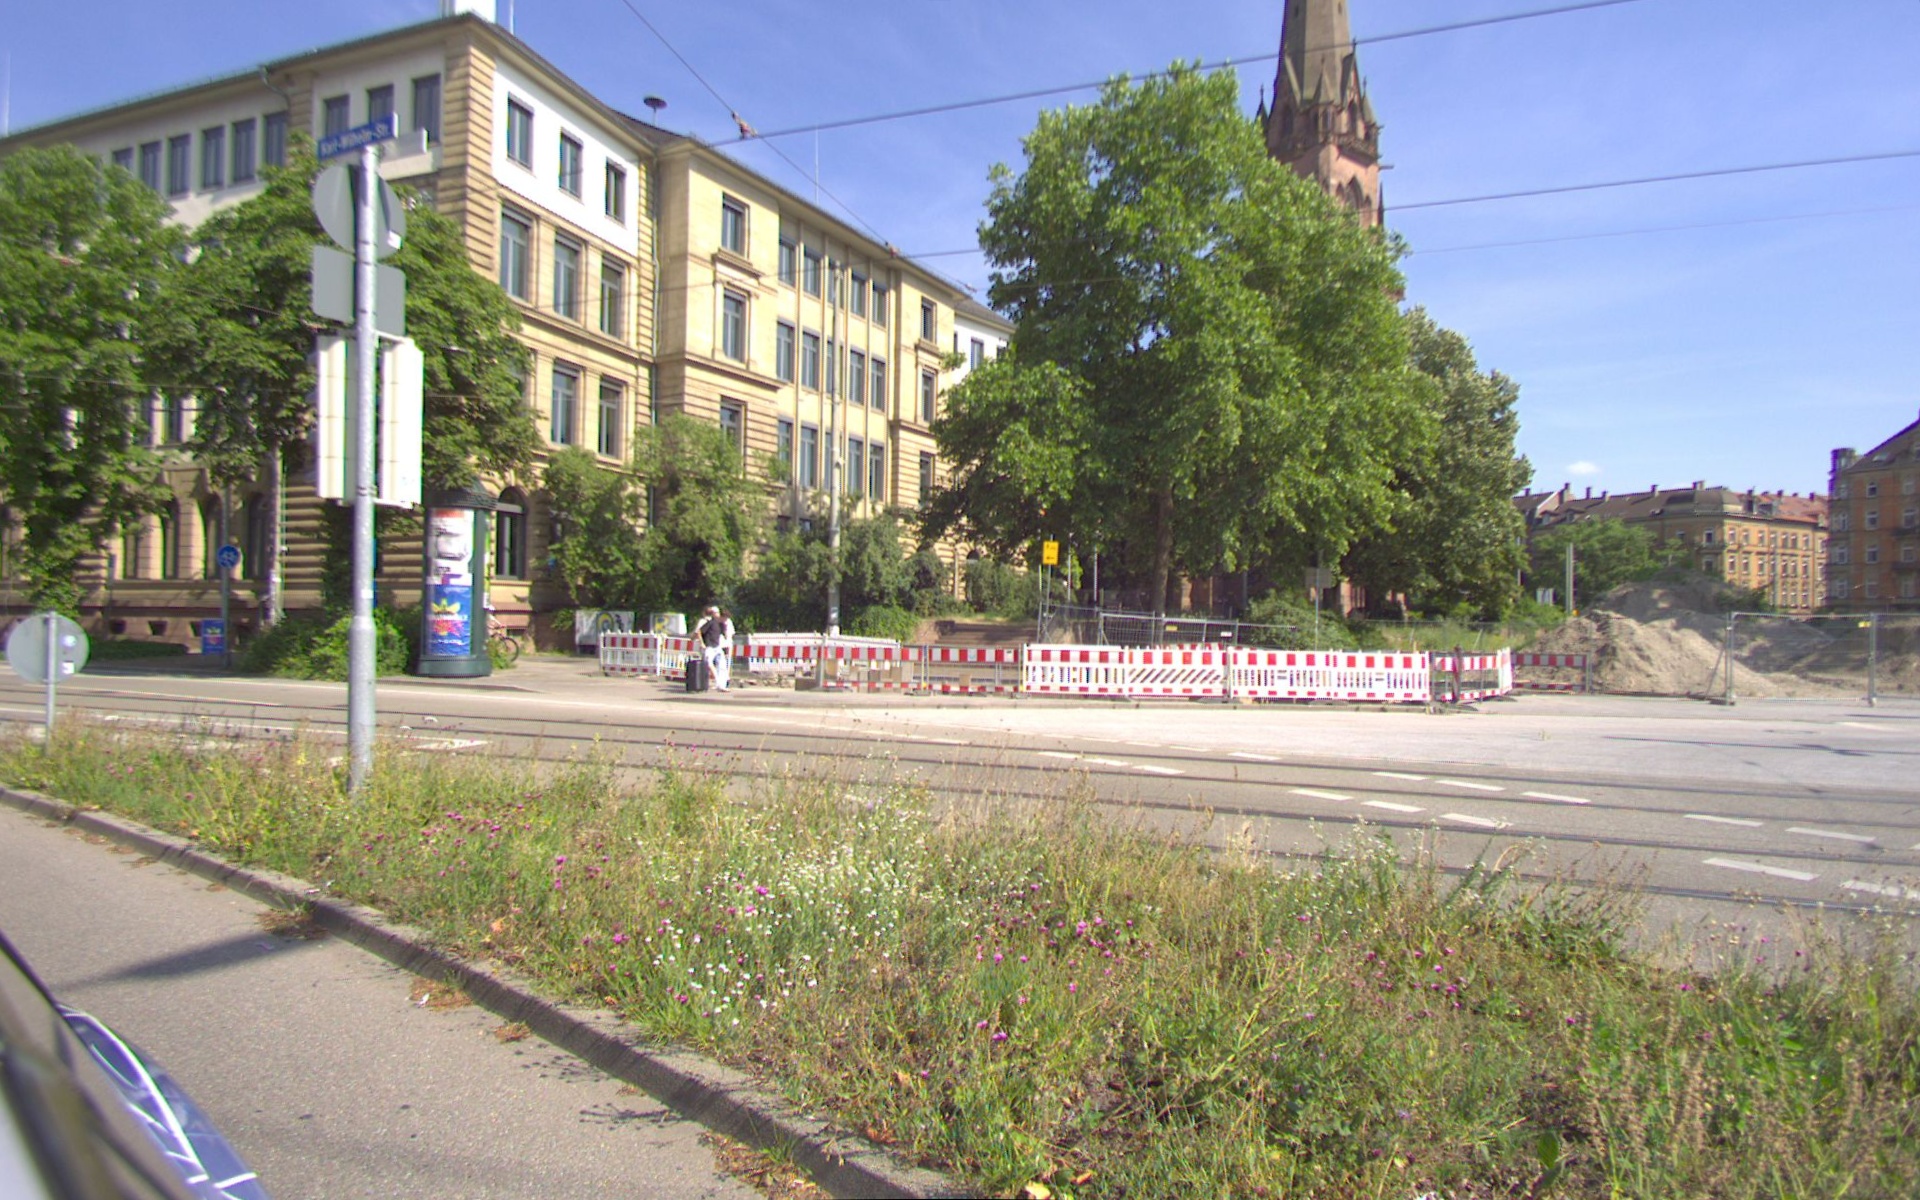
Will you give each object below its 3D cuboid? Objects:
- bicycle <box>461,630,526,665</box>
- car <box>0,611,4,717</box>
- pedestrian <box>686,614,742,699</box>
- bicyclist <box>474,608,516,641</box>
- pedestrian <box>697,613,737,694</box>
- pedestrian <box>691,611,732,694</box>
[{"bbox_3d":[-13.480,1.364,29.248,1.651,0.954,0.698,0,-2,16],"label":"bicycle"},{"bbox_3d":[-6.733,0.783,4.985,4.813,1.530,1.844,0,-2,33],"label":"car"},{"bbox_3d":[-5.005,1.136,20.572,0.924,1.668,0.847,1,-2,-27],"label":"pedestrian"},{"bbox_3d":[-13.441,0.702,29.272,0.862,0.934,0.679,0,-2,16],"label":"bicyclist"},{"bbox_3d":[-5.409,1.188,22.544,0.734,1.763,0.585,1,-2,-2],"label":"pedestrian"},{"bbox_3d":[-5.363,1.136,21.893,0.734,1.763,0.585,1,-2,-2],"label":"pedestrian"}]
